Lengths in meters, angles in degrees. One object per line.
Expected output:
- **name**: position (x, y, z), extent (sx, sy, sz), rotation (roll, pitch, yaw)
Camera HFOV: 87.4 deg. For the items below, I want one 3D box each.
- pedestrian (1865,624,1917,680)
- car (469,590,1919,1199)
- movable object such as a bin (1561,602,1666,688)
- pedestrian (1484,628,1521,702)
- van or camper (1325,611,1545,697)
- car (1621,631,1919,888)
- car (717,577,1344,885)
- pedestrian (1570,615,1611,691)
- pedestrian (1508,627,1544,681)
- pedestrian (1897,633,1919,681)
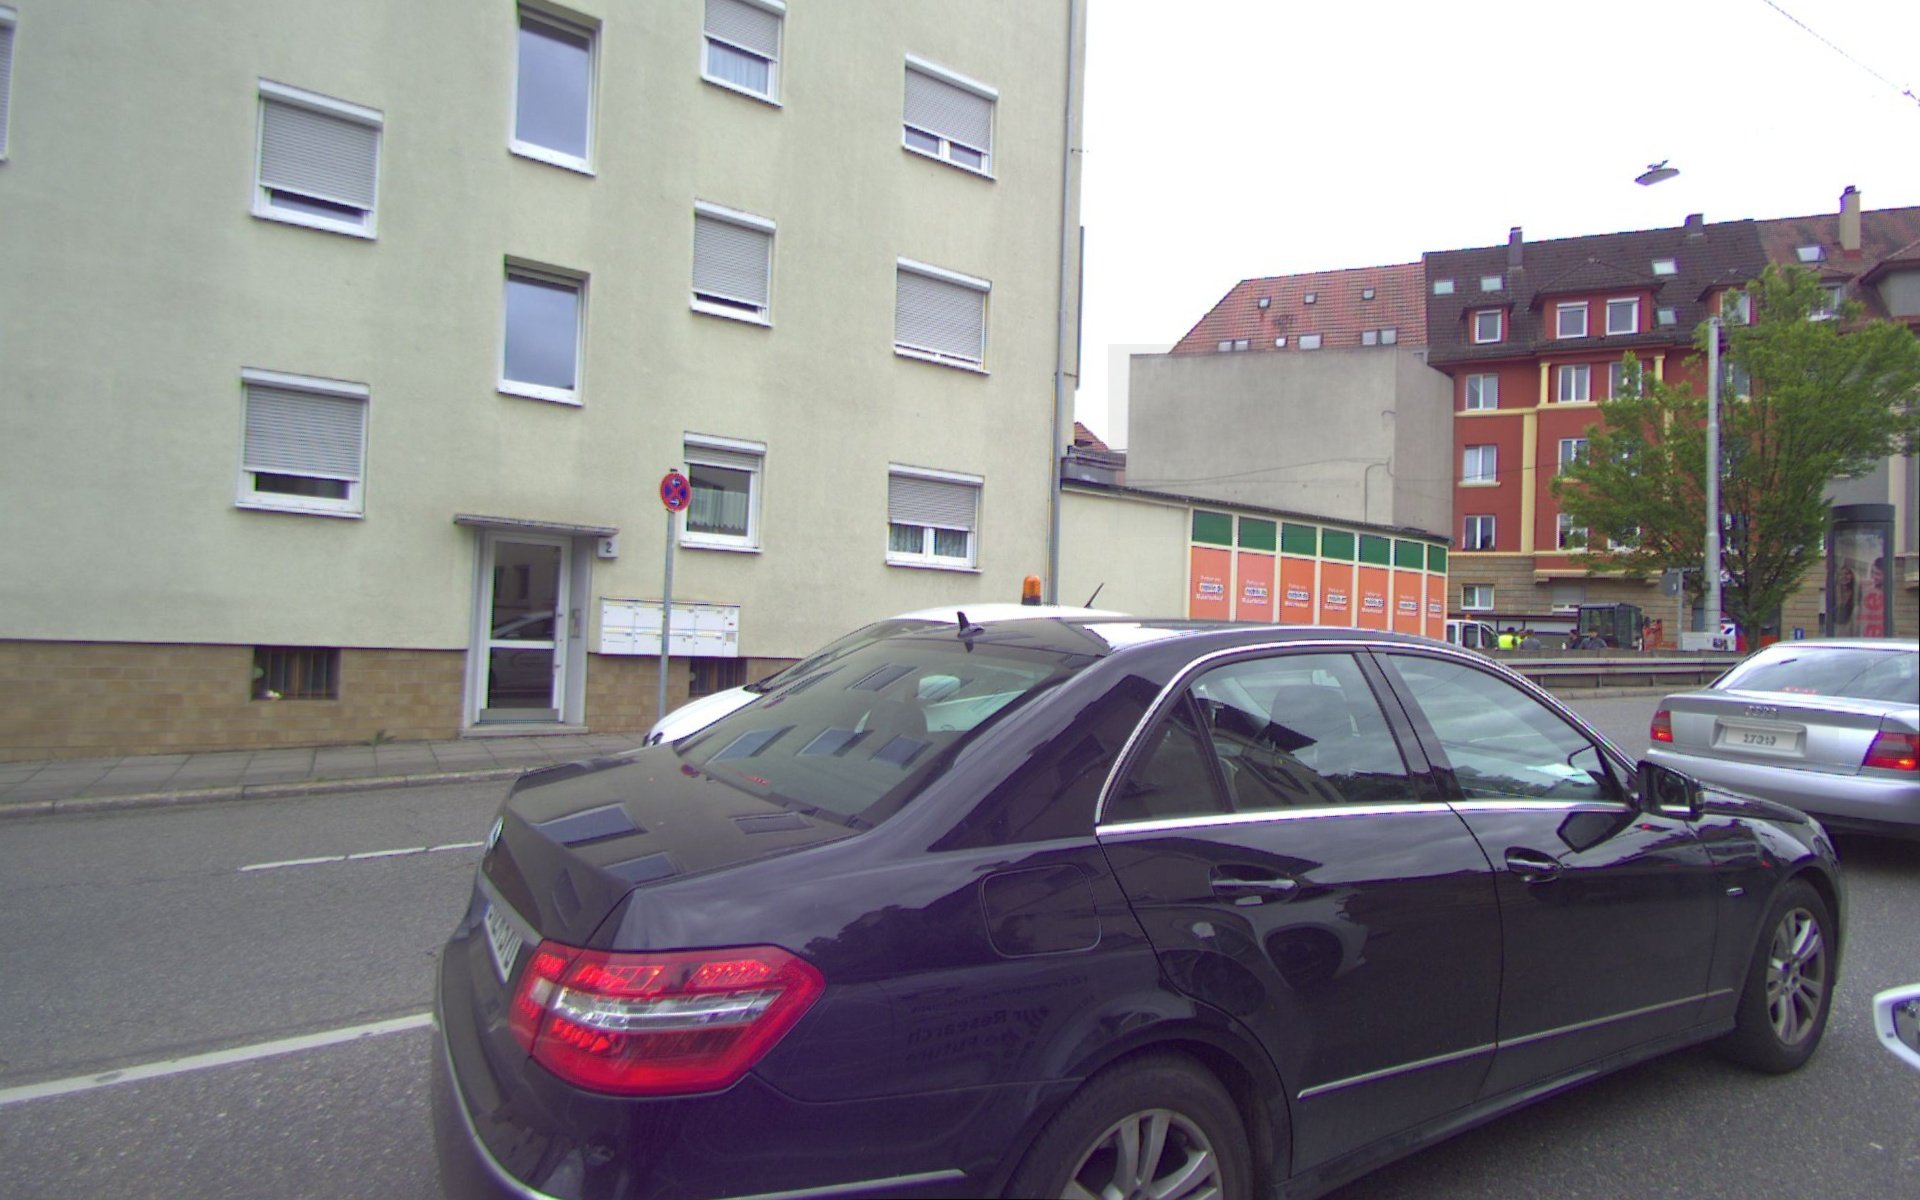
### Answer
- **pedestrian**: position (26.722, 1.480, 28.836), extent (0.724, 1.567, 0.794), rotation (0, -1, -3)
- **car**: position (1.076, 0.776, 3.387), extent (4.785, 1.447, 1.984), rotation (1, -2, -30)
- **movable object such as a bin**: position (16.552, 1.108, 25.387), extent (3.510, 2.040, 1.363), rotation (2, -2, -42)
- **pedestrian**: position (15.424, 1.832, 28.584), extent (0.810, 2.040, 0.680), rotation (0, 0, 20)
- **van or camper**: position (14.534, 1.573, 31.024), extent (5.894, 2.369, 2.686), rotation (0, -1, 26)
- **car**: position (6.722, 0.926, 7.075), extent (4.073, 1.383, 1.623), rotation (1, -2, -26)
- **car**: position (0.587, 0.738, 6.876), extent (4.038, 1.541, 1.761), rotation (2, -3, -32)
- **pedestrian**: position (14.074, 1.163, 22.409), extent (0.680, 1.658, 0.775), rotation (-1, -2, 40)
- **pedestrian**: position (14.712, 1.404, 26.105), extent (0.613, 1.381, 0.602), rotation (0, -1, 4)
- **pedestrian**: position (27.387, 1.635, 28.750), extent (0.572, 1.356, 0.576), rotation (0, -1, 0)
